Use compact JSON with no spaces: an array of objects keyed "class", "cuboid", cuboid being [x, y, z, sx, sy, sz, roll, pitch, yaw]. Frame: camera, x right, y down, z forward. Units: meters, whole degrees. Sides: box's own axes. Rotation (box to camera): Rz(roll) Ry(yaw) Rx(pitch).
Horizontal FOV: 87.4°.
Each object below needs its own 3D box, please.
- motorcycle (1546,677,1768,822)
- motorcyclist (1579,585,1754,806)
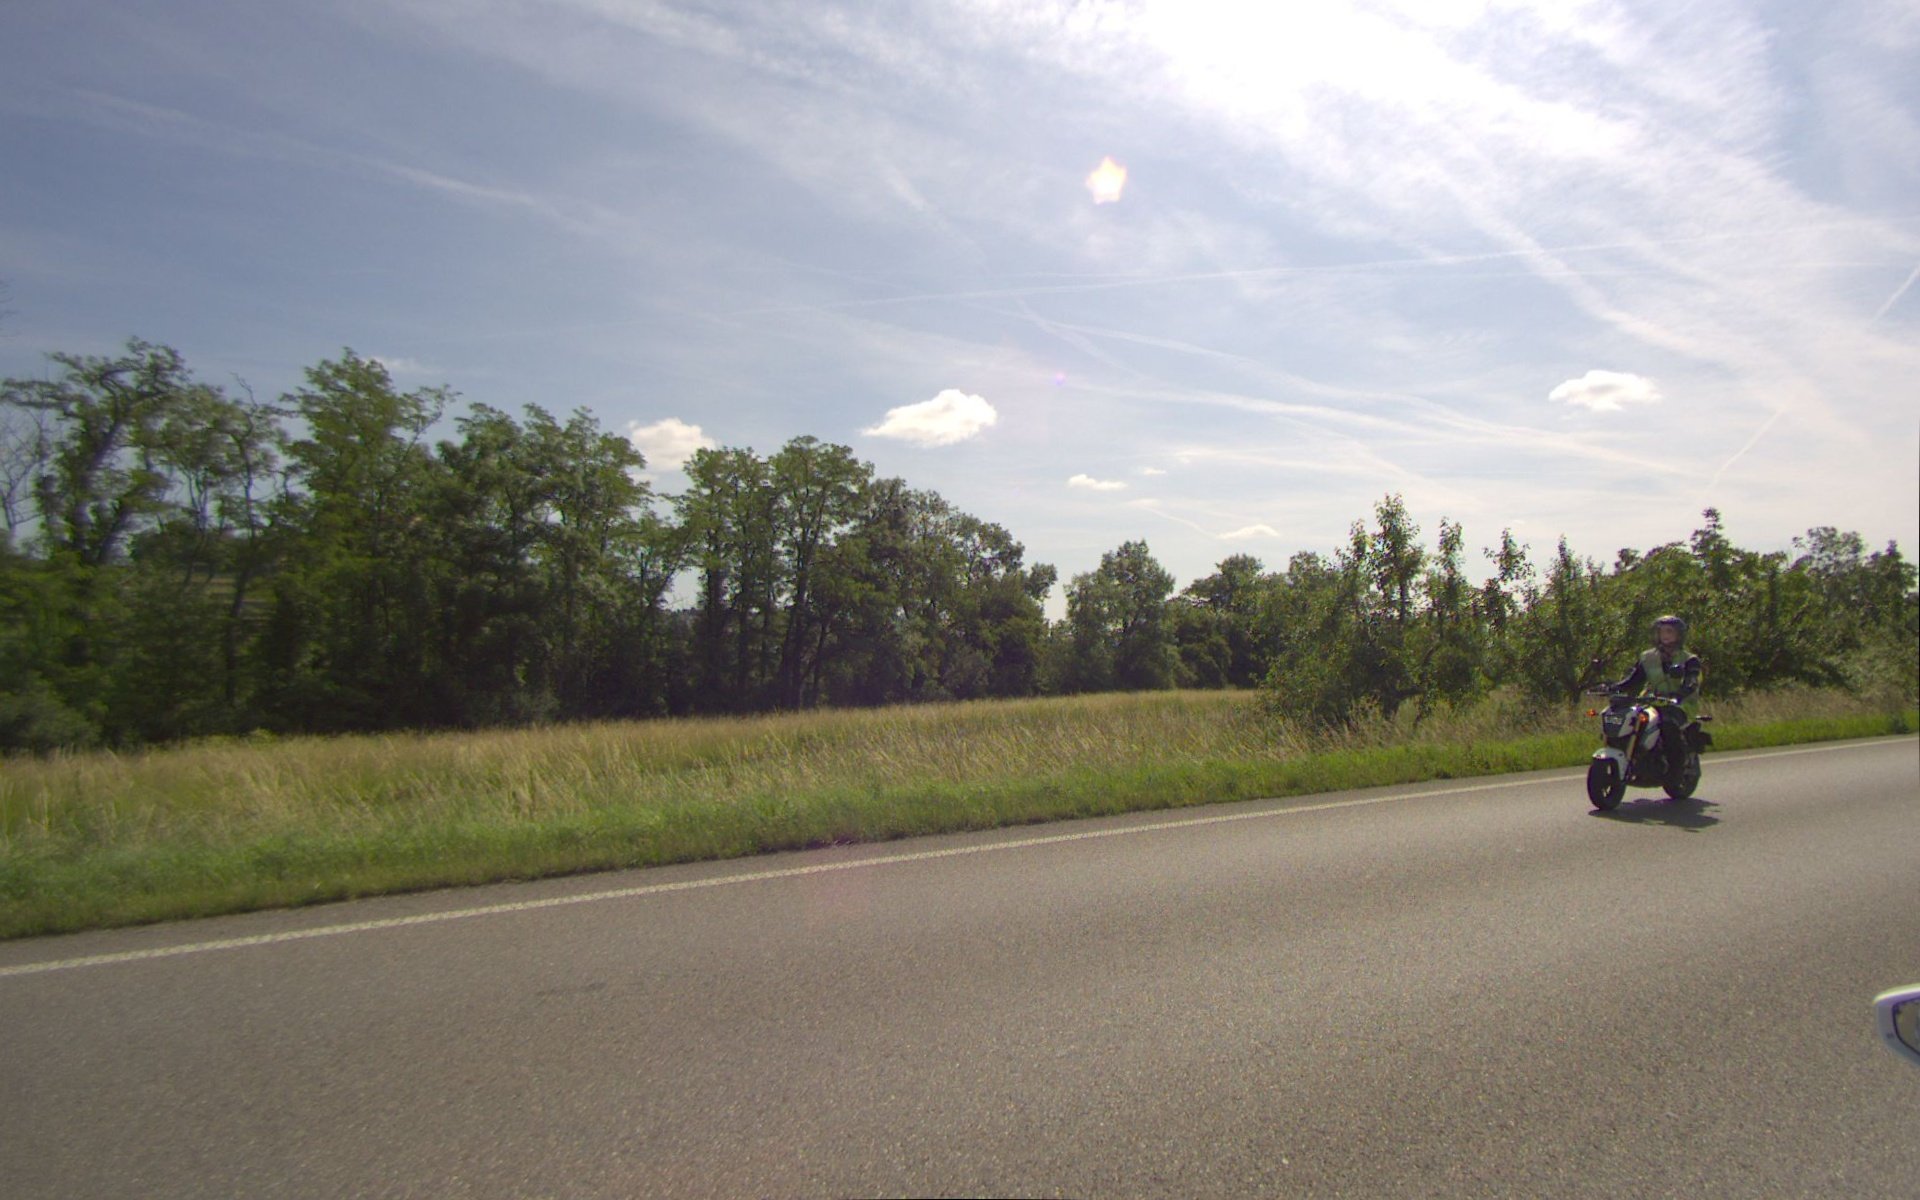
[{"class":"motorcycle","cuboid":[5.958,1.203,8.537,2.255,1.007,0.753,1,-1,-33]},{"class":"motorcyclist","cuboid":[6.017,0.772,8.573,0.951,1.741,0.914,1,-2,-30]}]
